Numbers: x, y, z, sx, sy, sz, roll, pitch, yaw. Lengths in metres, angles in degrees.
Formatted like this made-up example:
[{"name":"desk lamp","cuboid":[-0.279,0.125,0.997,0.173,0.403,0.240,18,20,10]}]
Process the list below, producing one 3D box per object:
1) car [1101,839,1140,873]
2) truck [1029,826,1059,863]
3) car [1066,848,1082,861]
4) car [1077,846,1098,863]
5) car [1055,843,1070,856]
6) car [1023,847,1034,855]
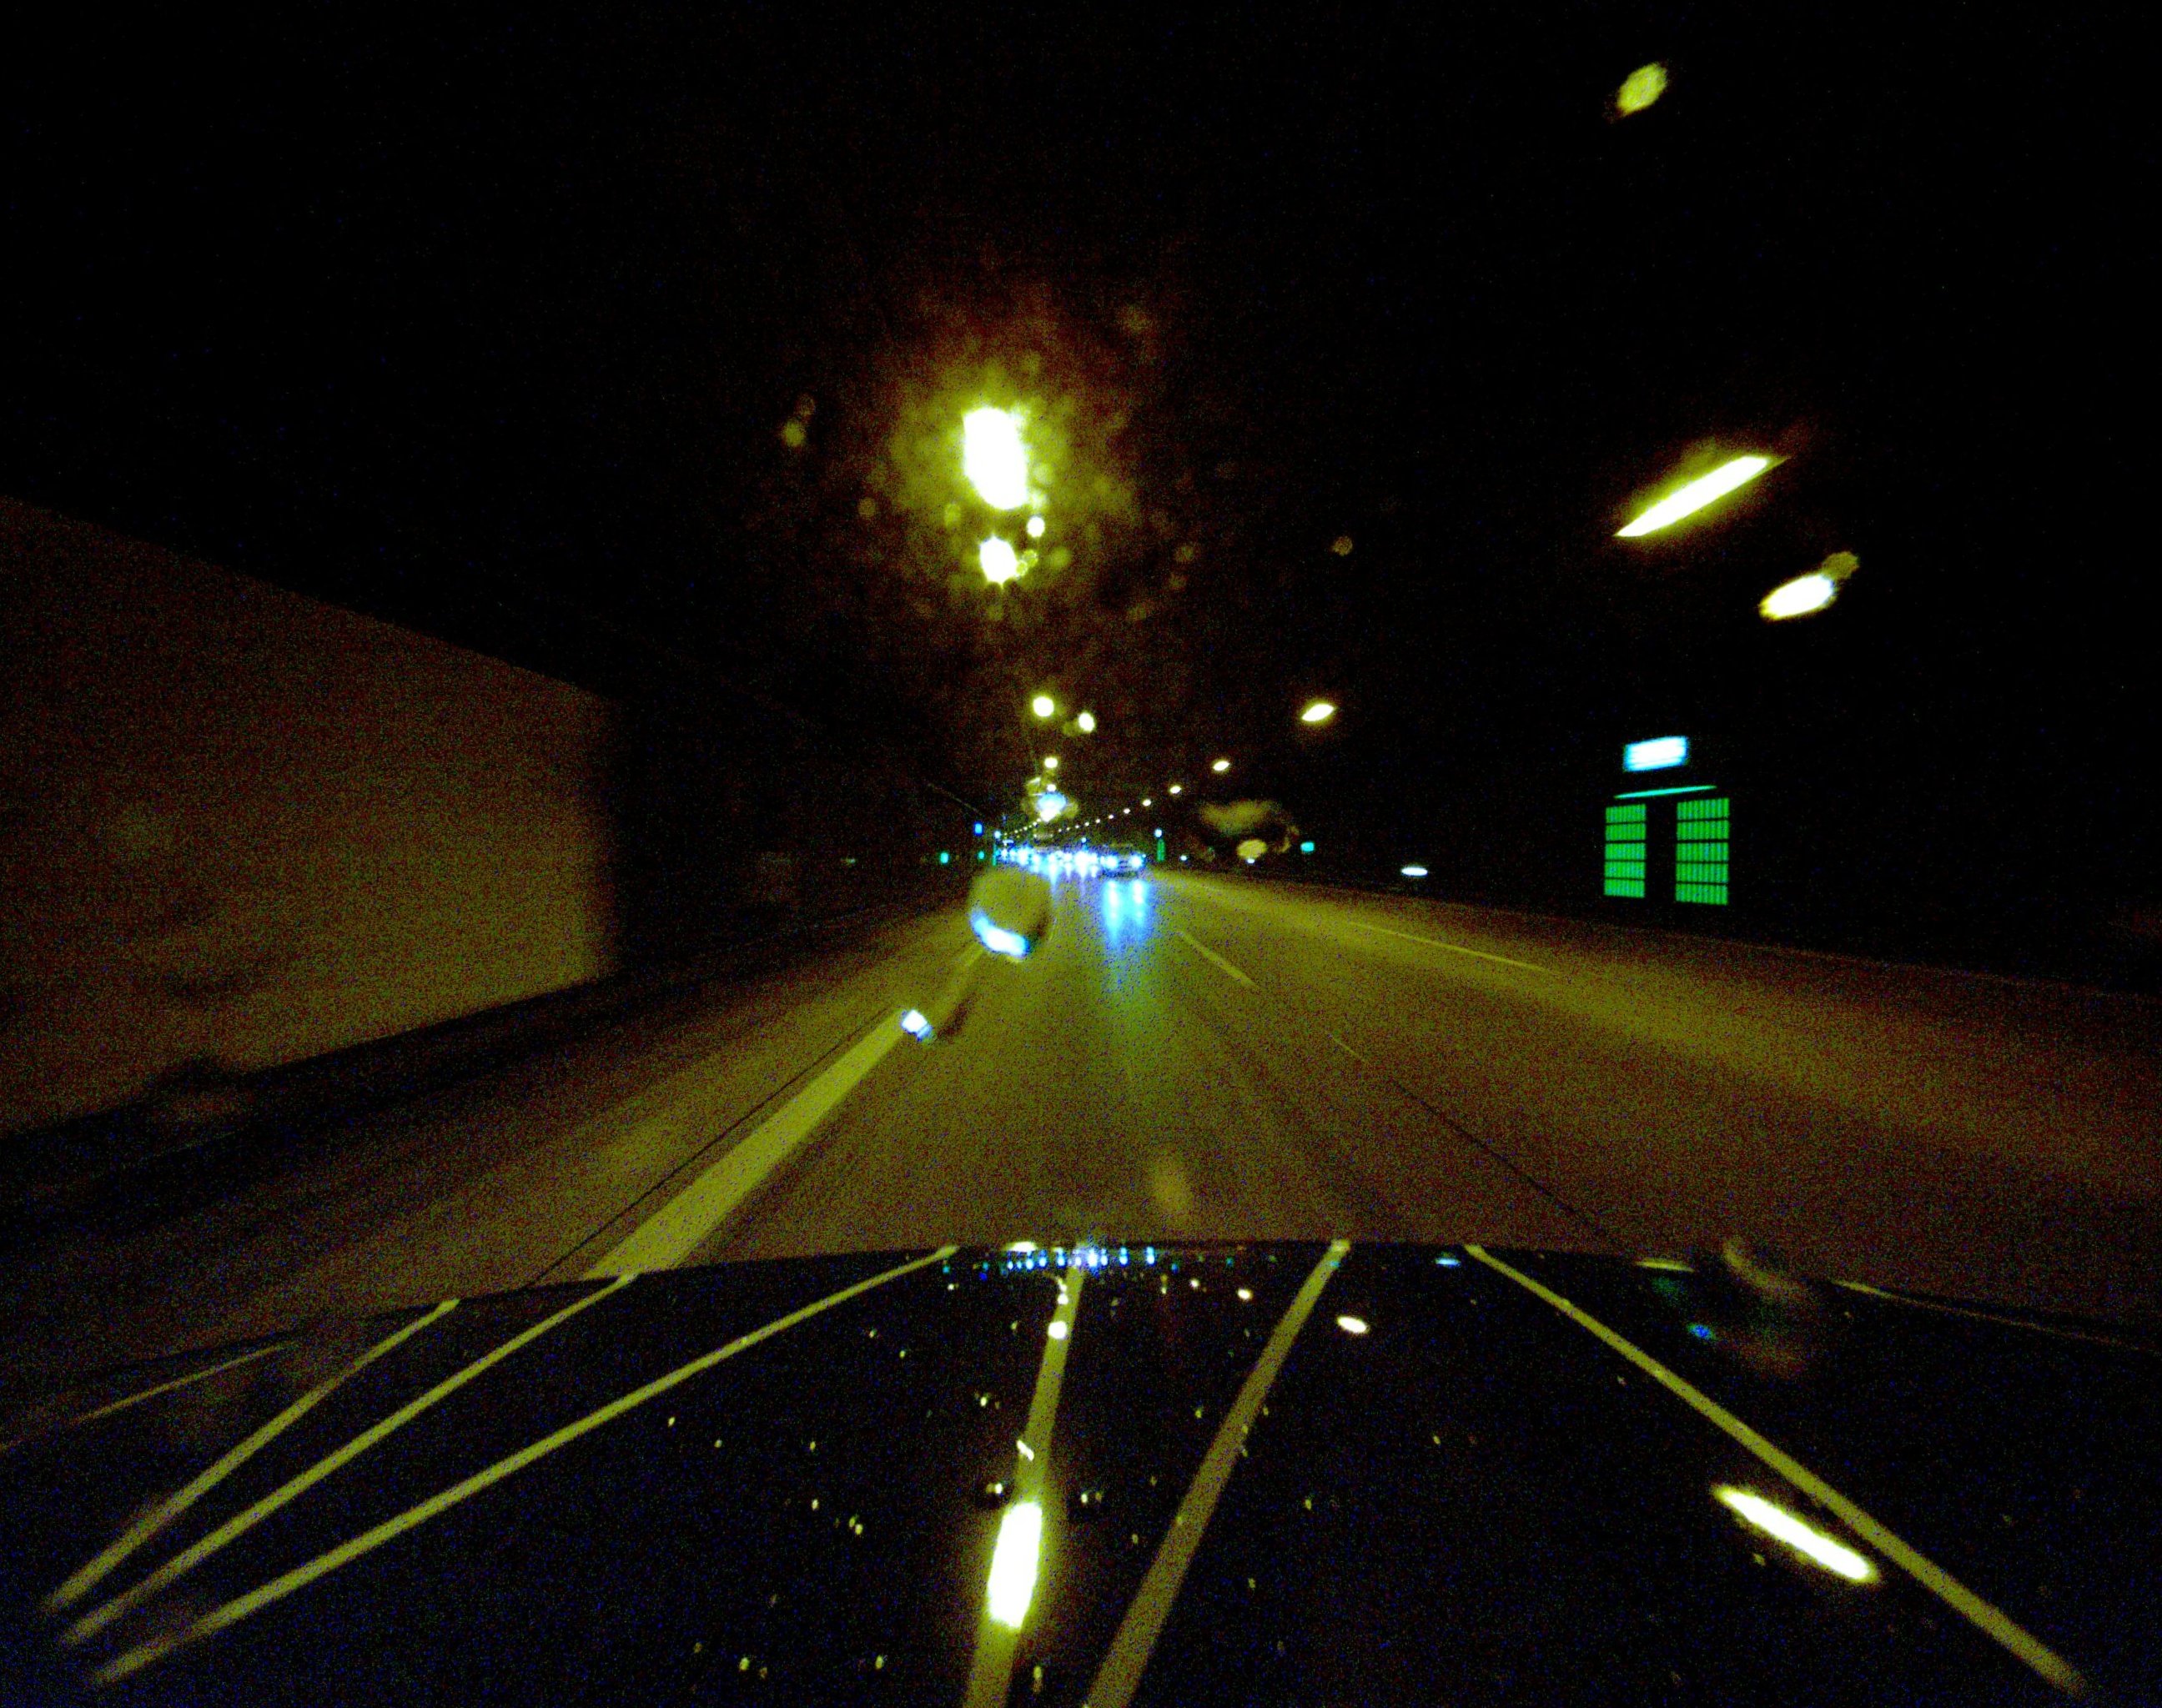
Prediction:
[{"name":"car","cuboid":[2.429,0.153,47.217,1.999,2.001,4.360,-2,-1,-2]},{"name":"truck","cuboid":[-4.505,-1.214,91.694,3.144,4.136,7.382,-2,2,-6]},{"name":"car","cuboid":[-0.895,0.055,94.129,1.759,1.567,3.998,-2,0,-4]},{"name":"car","cuboid":[0.619,0.026,76.639,1.911,1.638,3.999,-2,0,-3]},{"name":"car","cuboid":[-2.982,-0.747,120.553,1.999,2.002,3.998,-2,0,-6]},{"name":"car","cuboid":[-11.752,-0.663,169.919,2.000,1.729,3.996,-2,1,-10]}]
